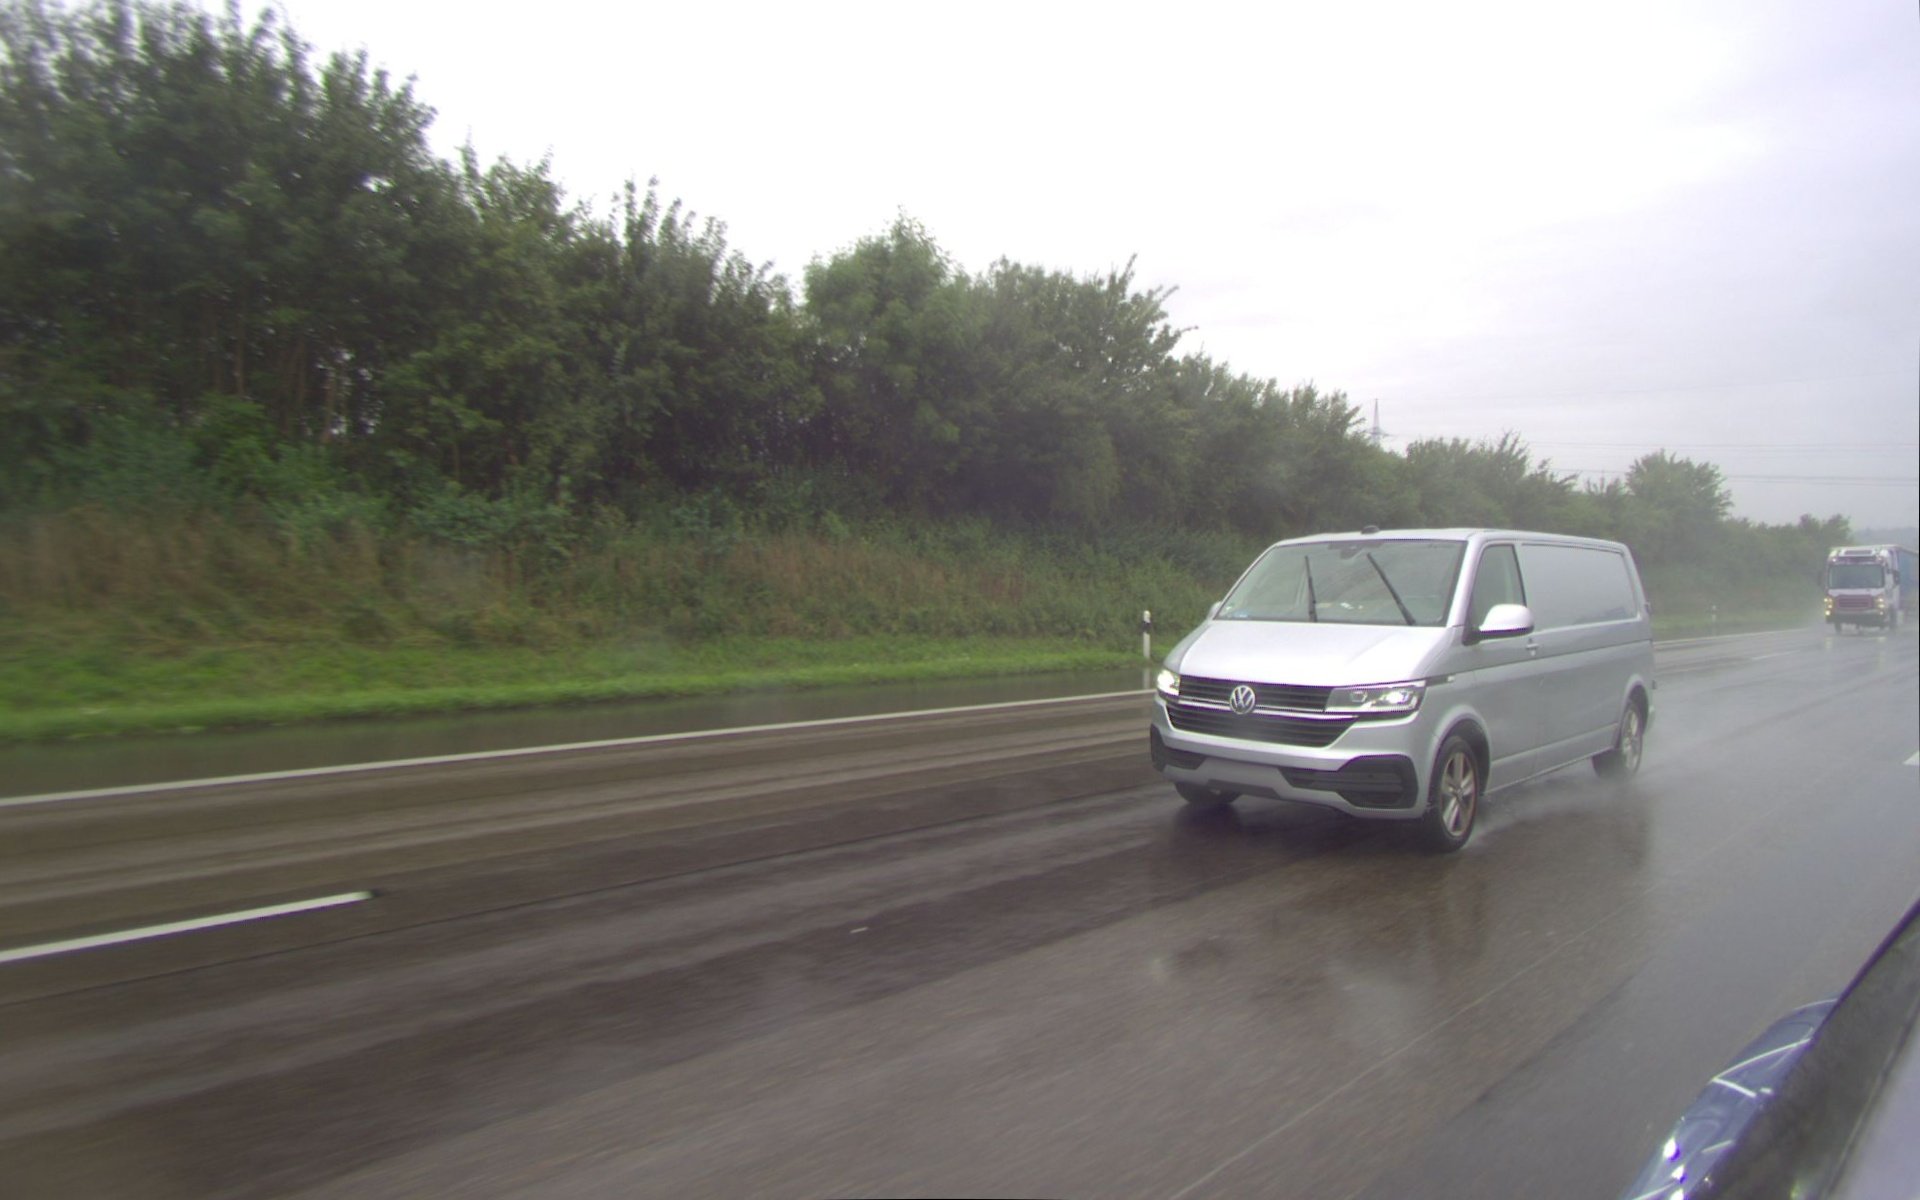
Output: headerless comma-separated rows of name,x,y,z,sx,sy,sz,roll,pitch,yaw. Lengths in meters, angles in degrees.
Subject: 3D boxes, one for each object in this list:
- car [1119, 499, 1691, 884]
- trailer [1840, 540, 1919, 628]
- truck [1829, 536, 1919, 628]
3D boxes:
car,3.490,0.426,7.359,4.922,1.907,1.891,0,1,-41
trailer,49.046,-0.817,52.982,13.550,4.139,2.617,0,1,-41
truck,43.581,-0.829,48.151,5.147,4.139,2.617,0,1,-41
